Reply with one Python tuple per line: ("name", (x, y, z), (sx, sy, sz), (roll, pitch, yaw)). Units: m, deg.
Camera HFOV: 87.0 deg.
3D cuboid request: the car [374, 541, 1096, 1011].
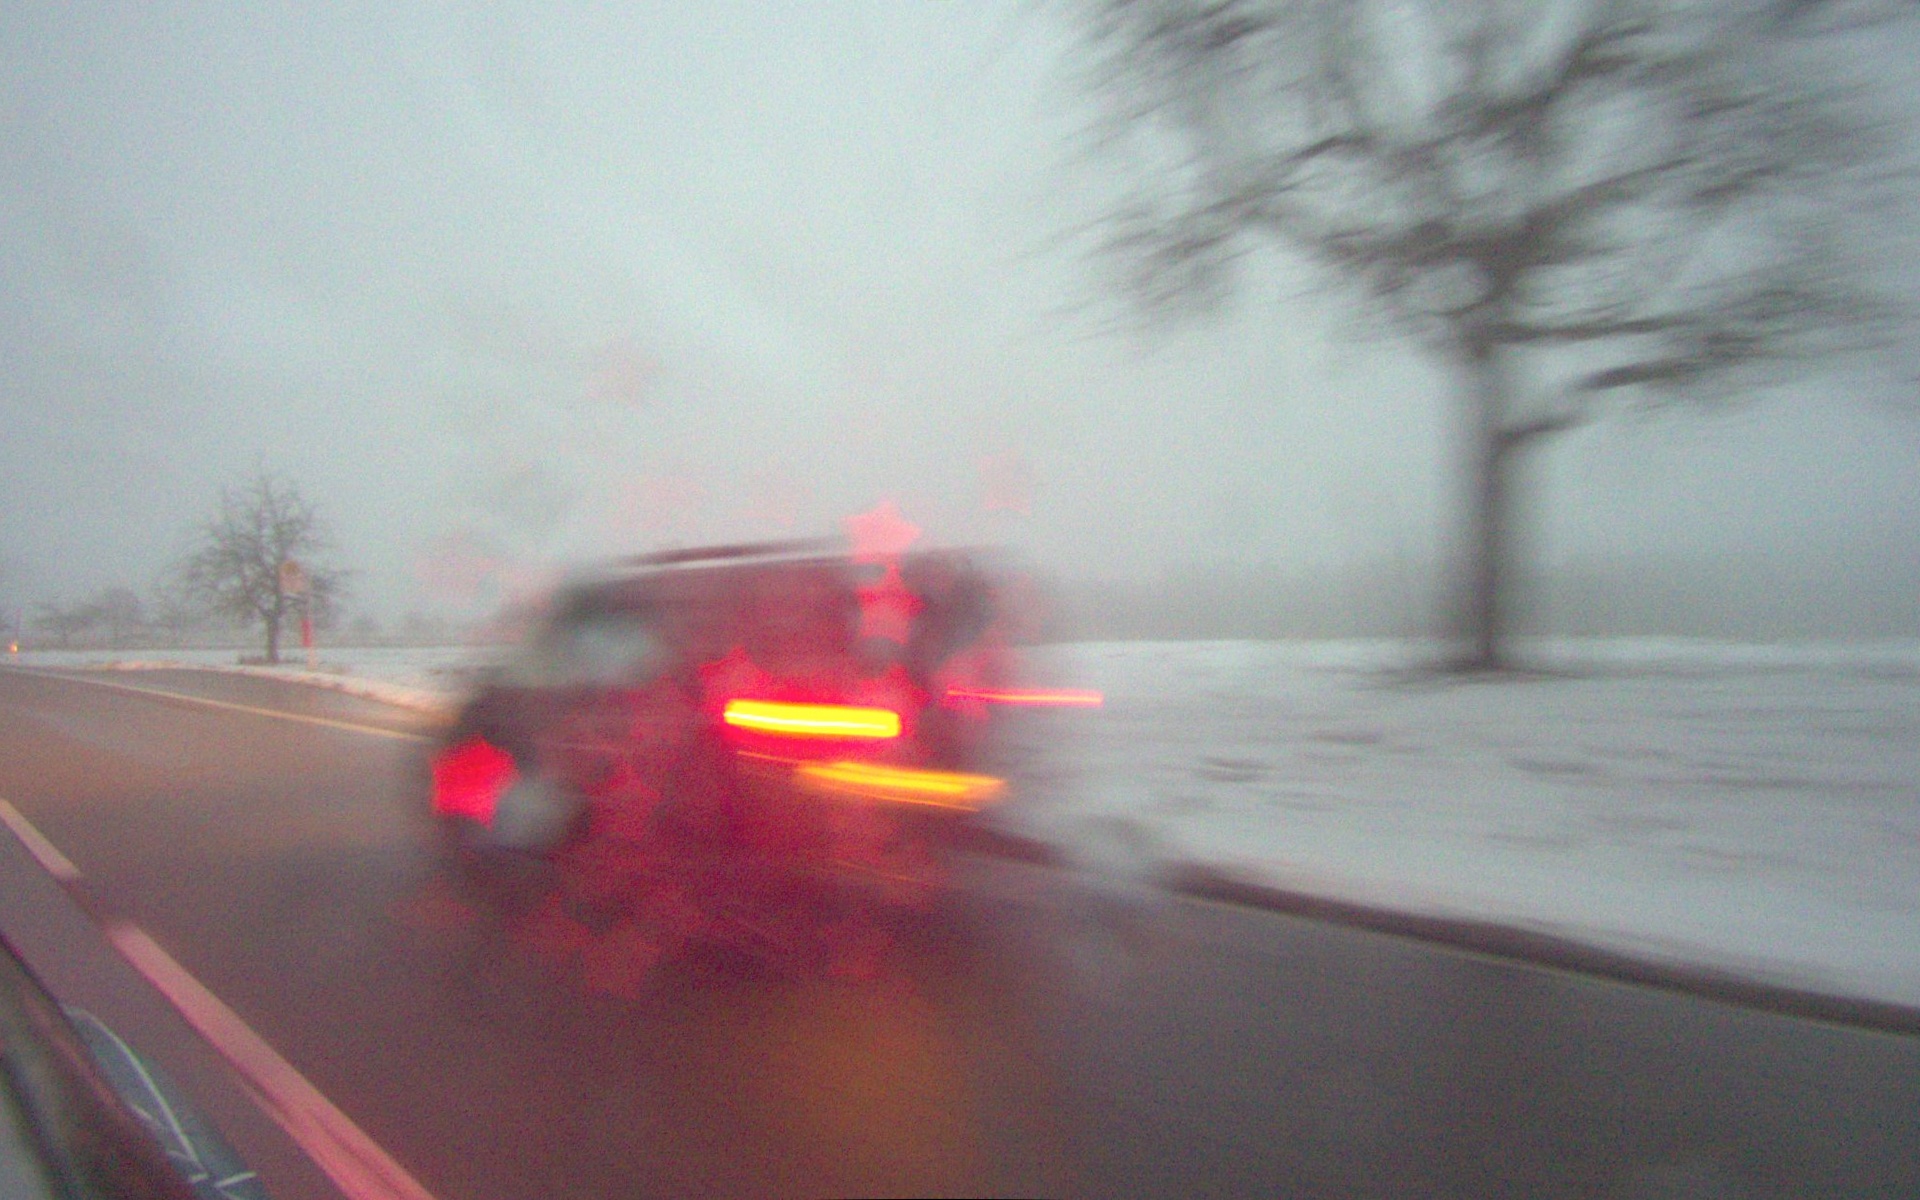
("car", (-1.575, 0.720, 5.800), (4.423, 1.706, 1.734), (-3, -2, 40))
